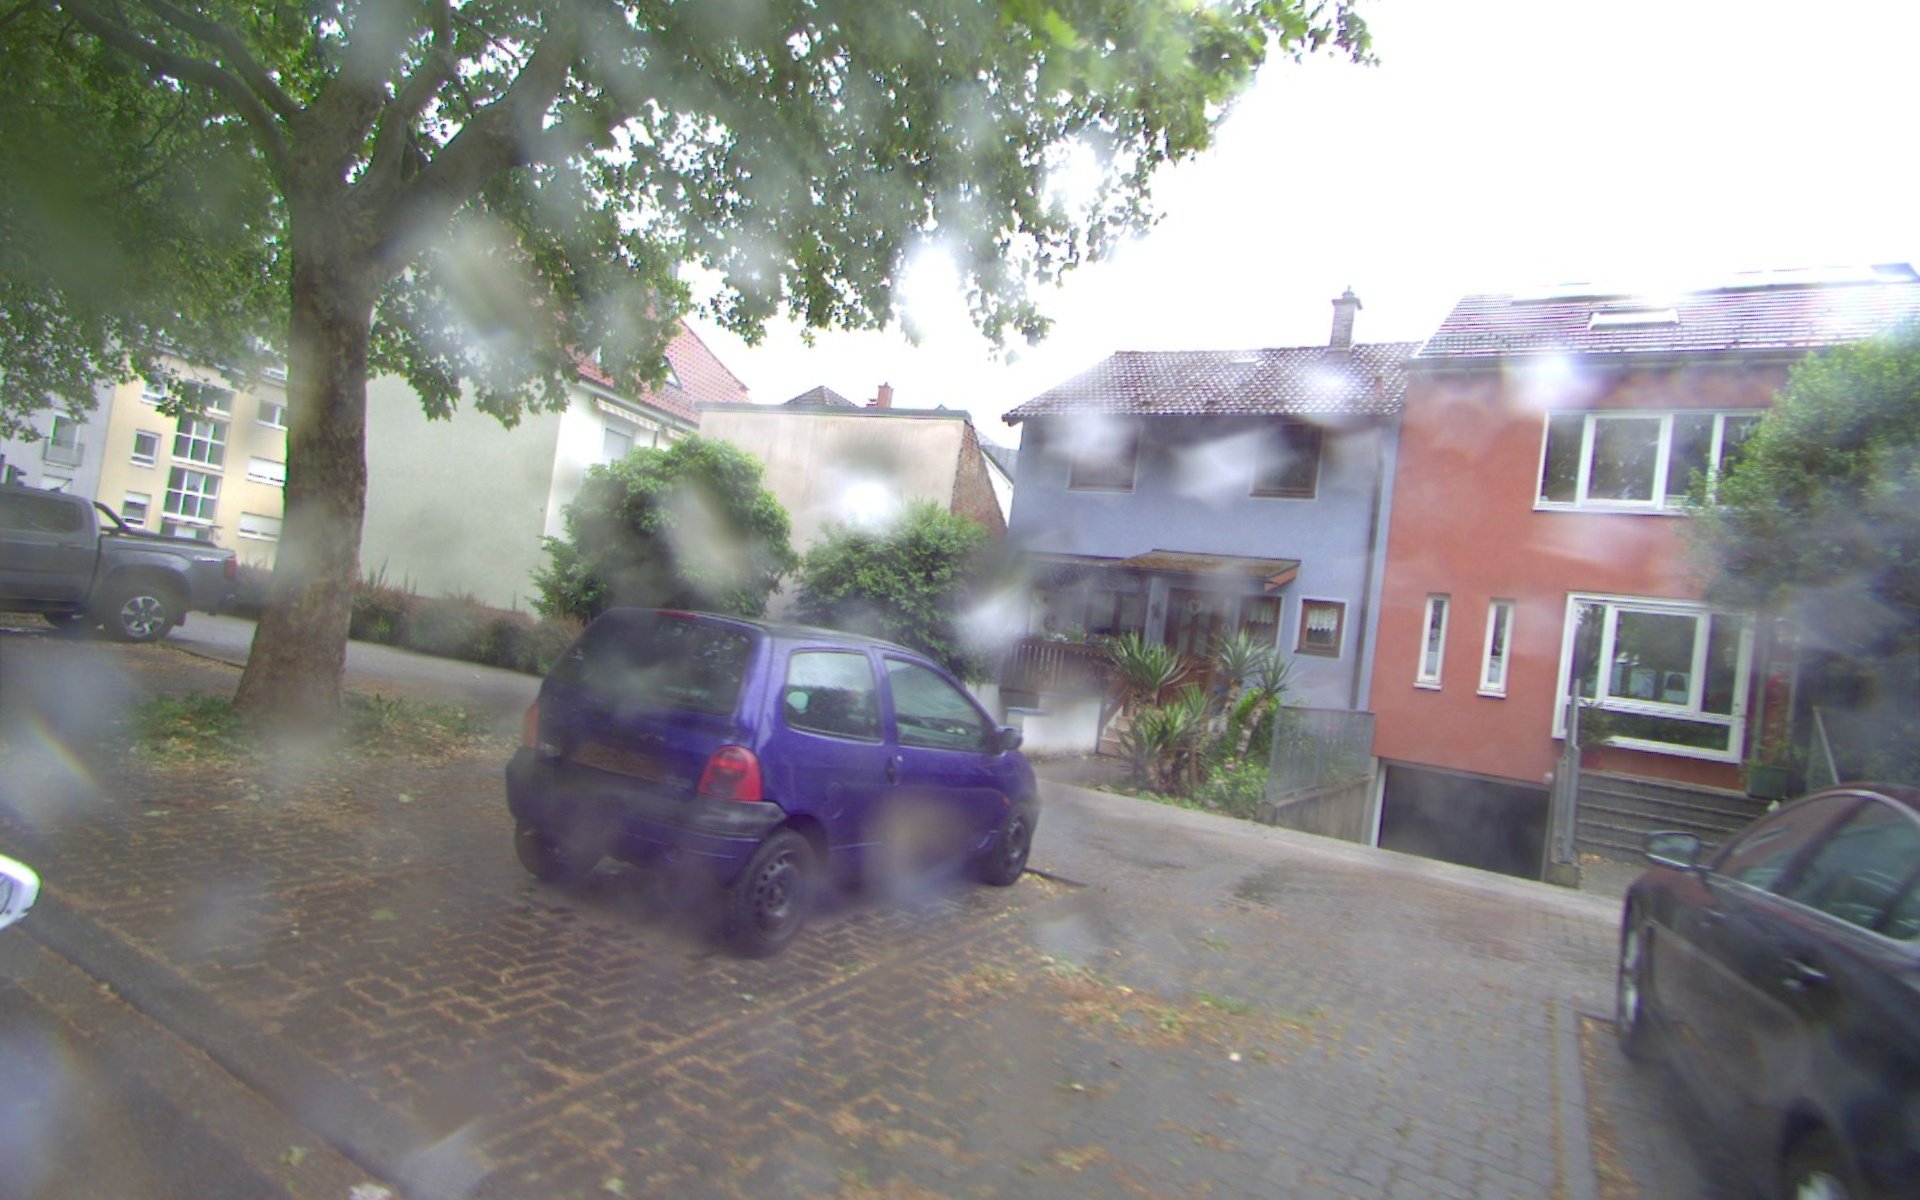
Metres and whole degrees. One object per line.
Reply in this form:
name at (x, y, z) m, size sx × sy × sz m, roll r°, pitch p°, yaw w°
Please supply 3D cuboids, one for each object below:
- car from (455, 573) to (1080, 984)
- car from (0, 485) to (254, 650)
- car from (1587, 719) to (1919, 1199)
car at (-0.779, 0.868, 5.798) m, size 1.591 × 1.480 × 3.364 m, roll 7°, pitch -3°, yaw 30°
car at (-12.091, -0.525, 12.288) m, size 1.812 × 1.827 × 5.356 m, roll 7°, pitch -2°, yaw 25°
car at (3.252, 1.255, 2.855) m, size 1.903 × 1.490 × 4.780 m, roll 7°, pitch -2°, yaw 27°
